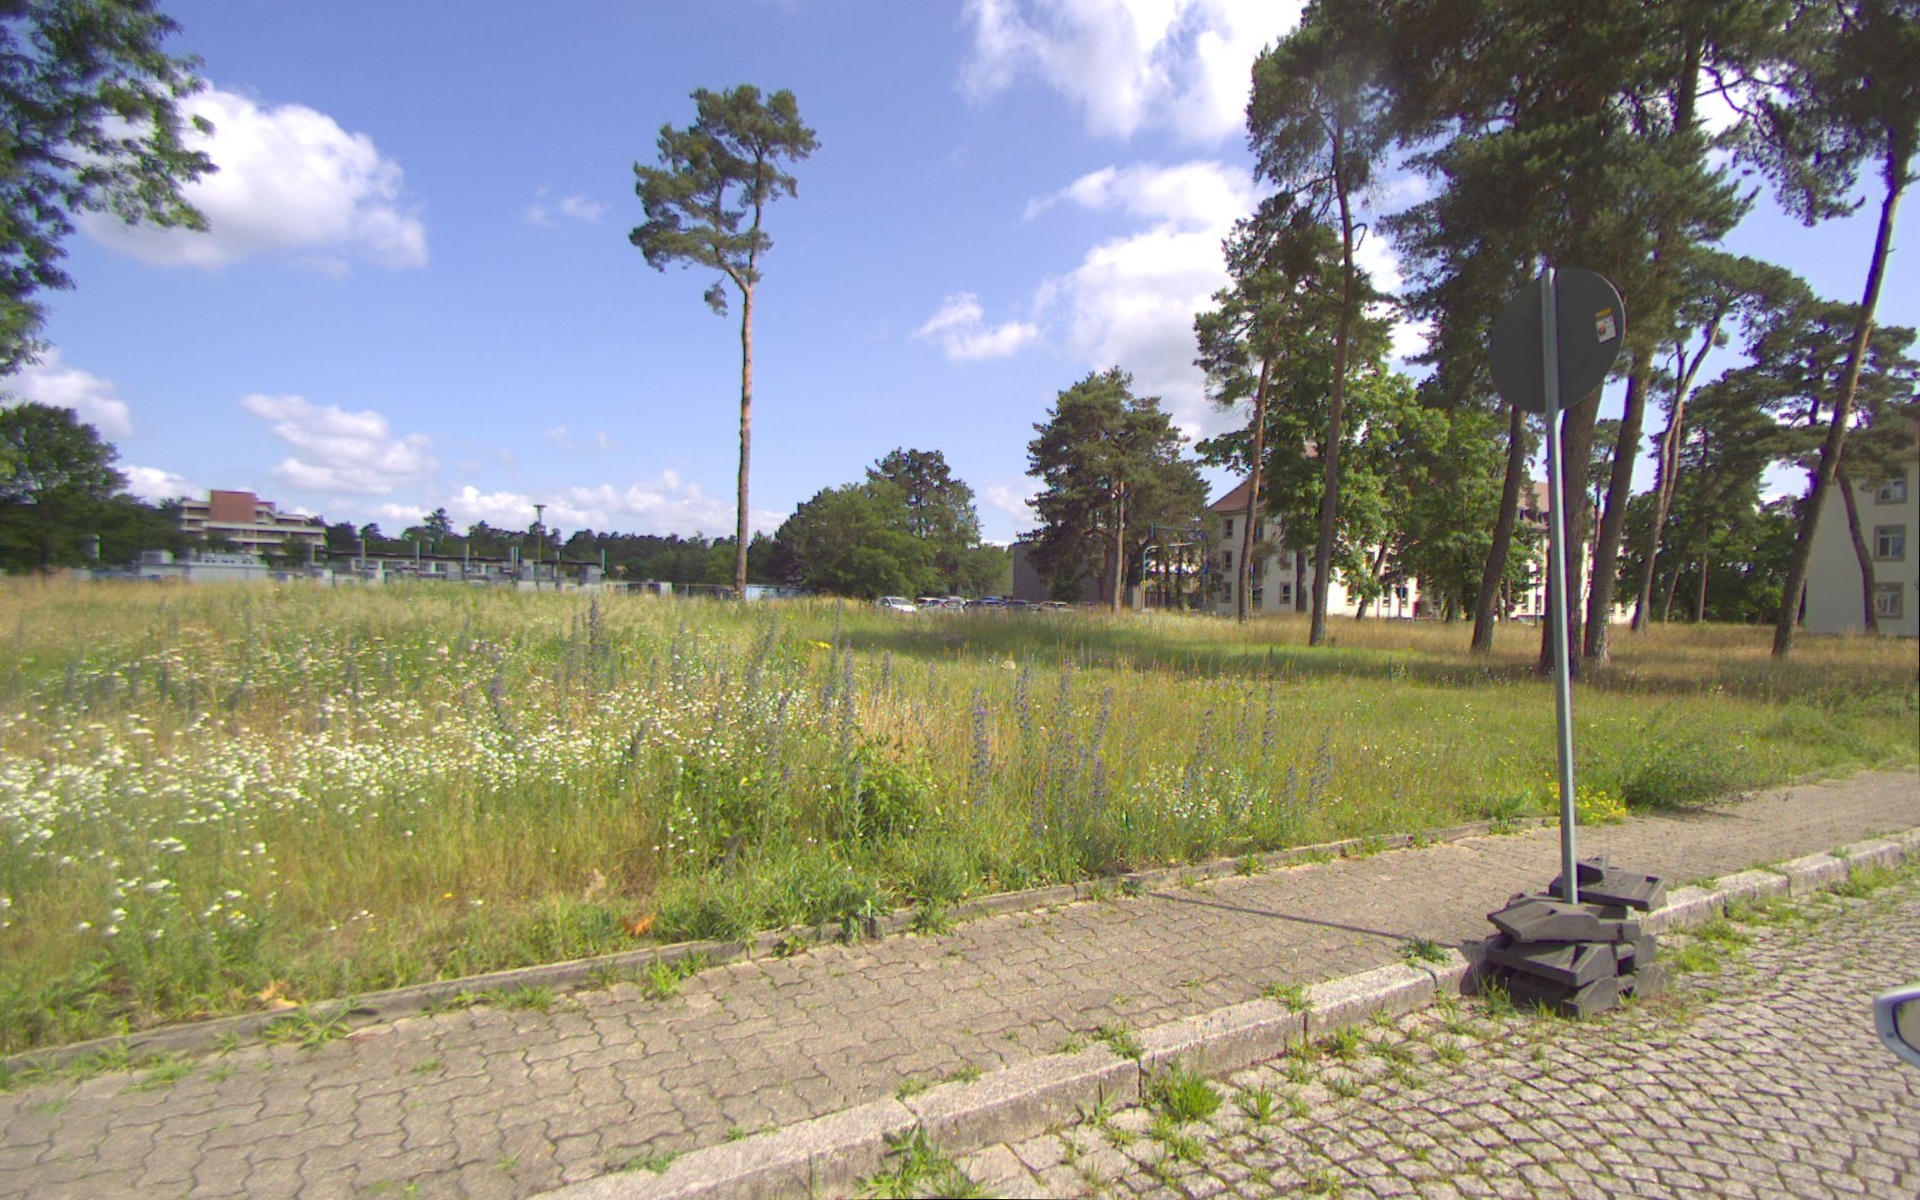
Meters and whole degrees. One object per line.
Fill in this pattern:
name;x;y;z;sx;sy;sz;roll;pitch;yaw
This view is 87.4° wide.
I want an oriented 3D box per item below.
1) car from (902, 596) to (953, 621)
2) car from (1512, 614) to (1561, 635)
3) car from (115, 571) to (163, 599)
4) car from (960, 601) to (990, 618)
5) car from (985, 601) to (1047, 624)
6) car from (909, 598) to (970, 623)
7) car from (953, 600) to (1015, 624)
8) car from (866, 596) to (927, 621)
car;-2.368;0.587;71.616;1.880;1.725;4.043;2;-1;-32
car;58.623;2.488;102.151;1.693;2.018;4.040;2;-1;-30
car;-53.864;-0.935;66.002;1.880;1.725;4.043;2;-1;-32
car;1.977;1.280;133.979;3.638;2.116;1.721;2;0;-22
car;3.457;0.782;62.347;1.880;1.327;4.043;2;-1;-32
car;-1.280;0.619;60.263;1.880;1.356;4.043;2;-1;-32
car;1.419;0.731;61.176;1.880;1.337;4.043;2;-1;-32
car;-3.729;0.475;58.338;1.880;1.367;4.036;2;-1;-32
